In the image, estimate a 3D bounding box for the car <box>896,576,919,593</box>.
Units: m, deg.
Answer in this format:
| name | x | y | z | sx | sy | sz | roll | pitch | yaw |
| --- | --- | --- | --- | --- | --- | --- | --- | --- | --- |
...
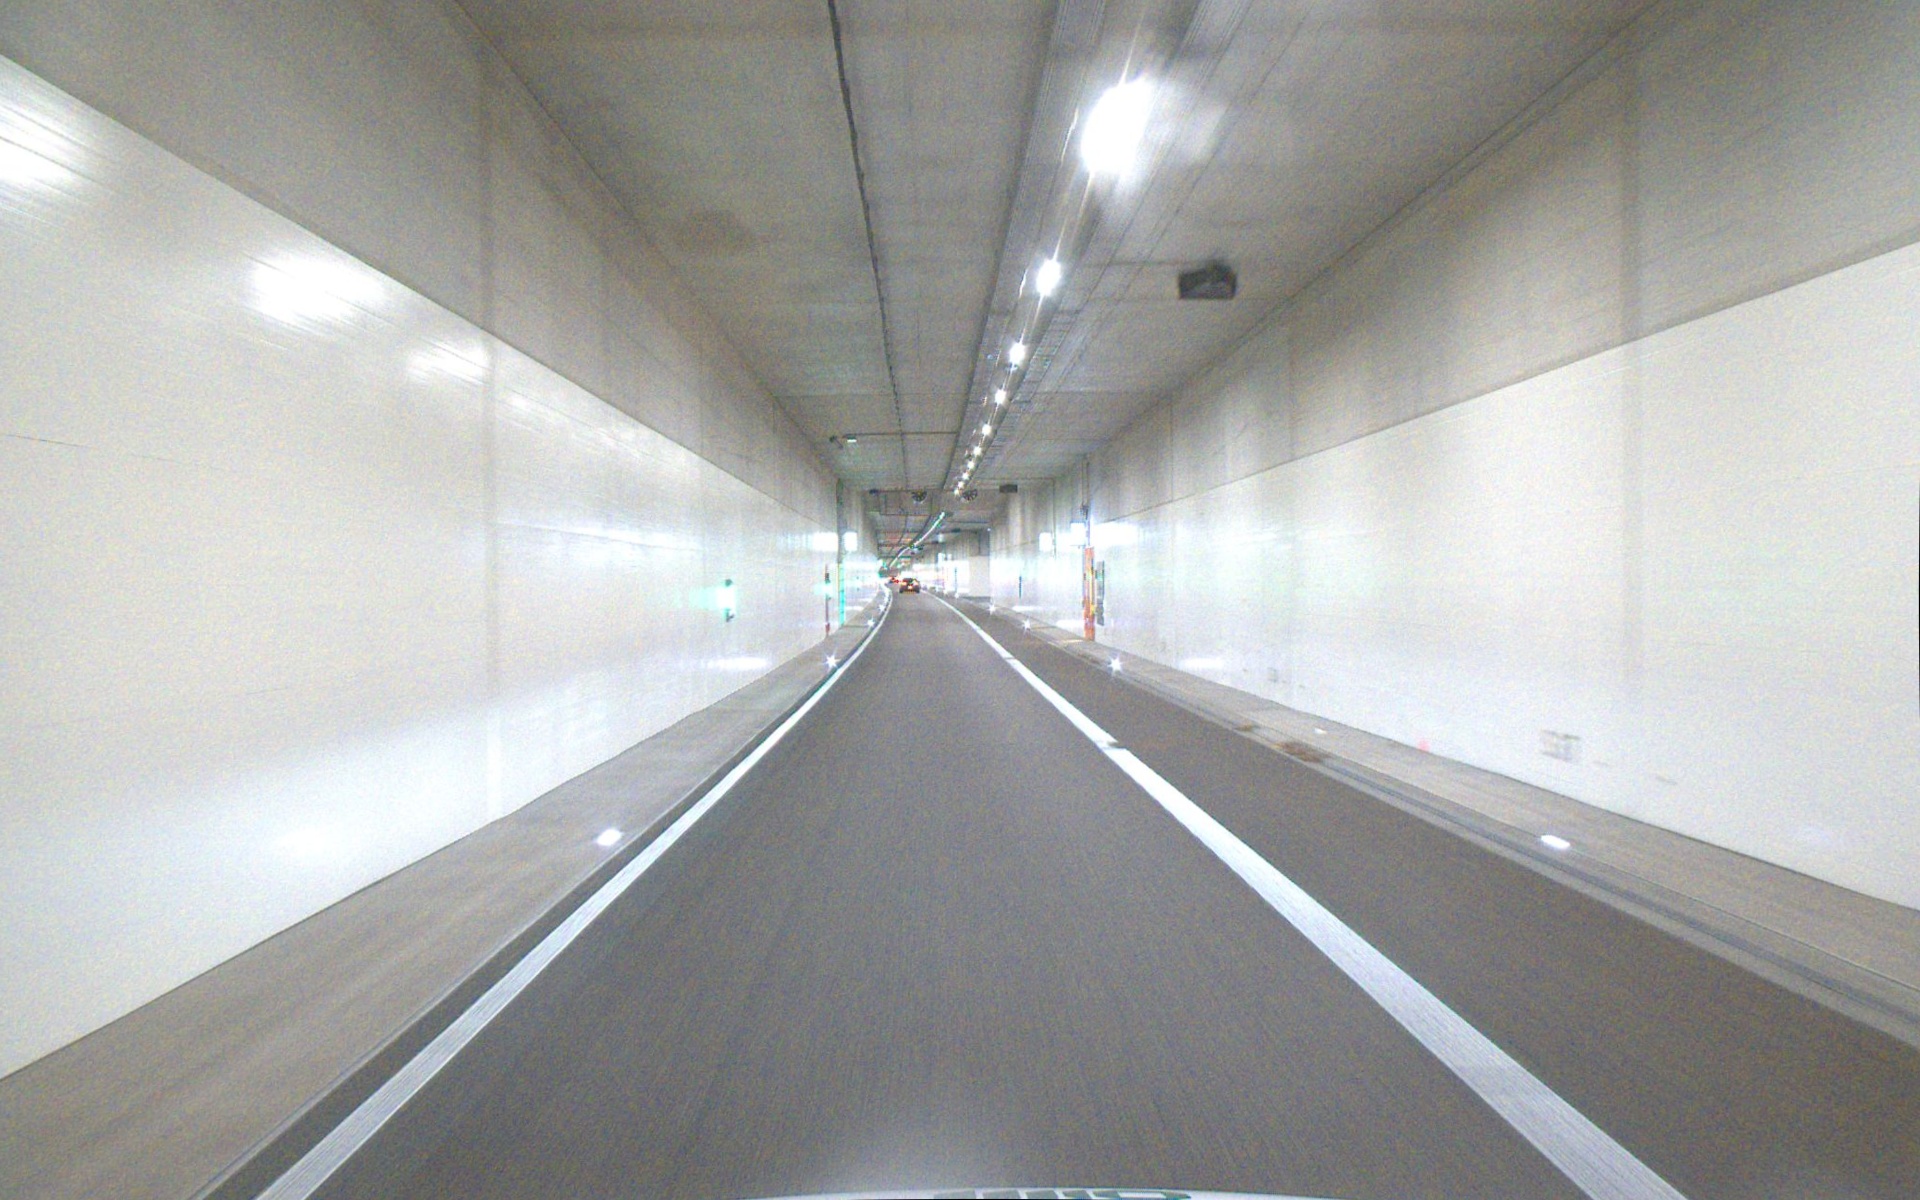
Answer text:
| name | x | y | z | sx | sy | sz | roll | pitch | yaw |
| --- | --- | --- | --- | --- | --- | --- | --- | --- | --- |
| car | -4.856 | -1.420 | 153.123 | 1.954 | 1.444 | 3.998 | -3 | 1 | -3 |
